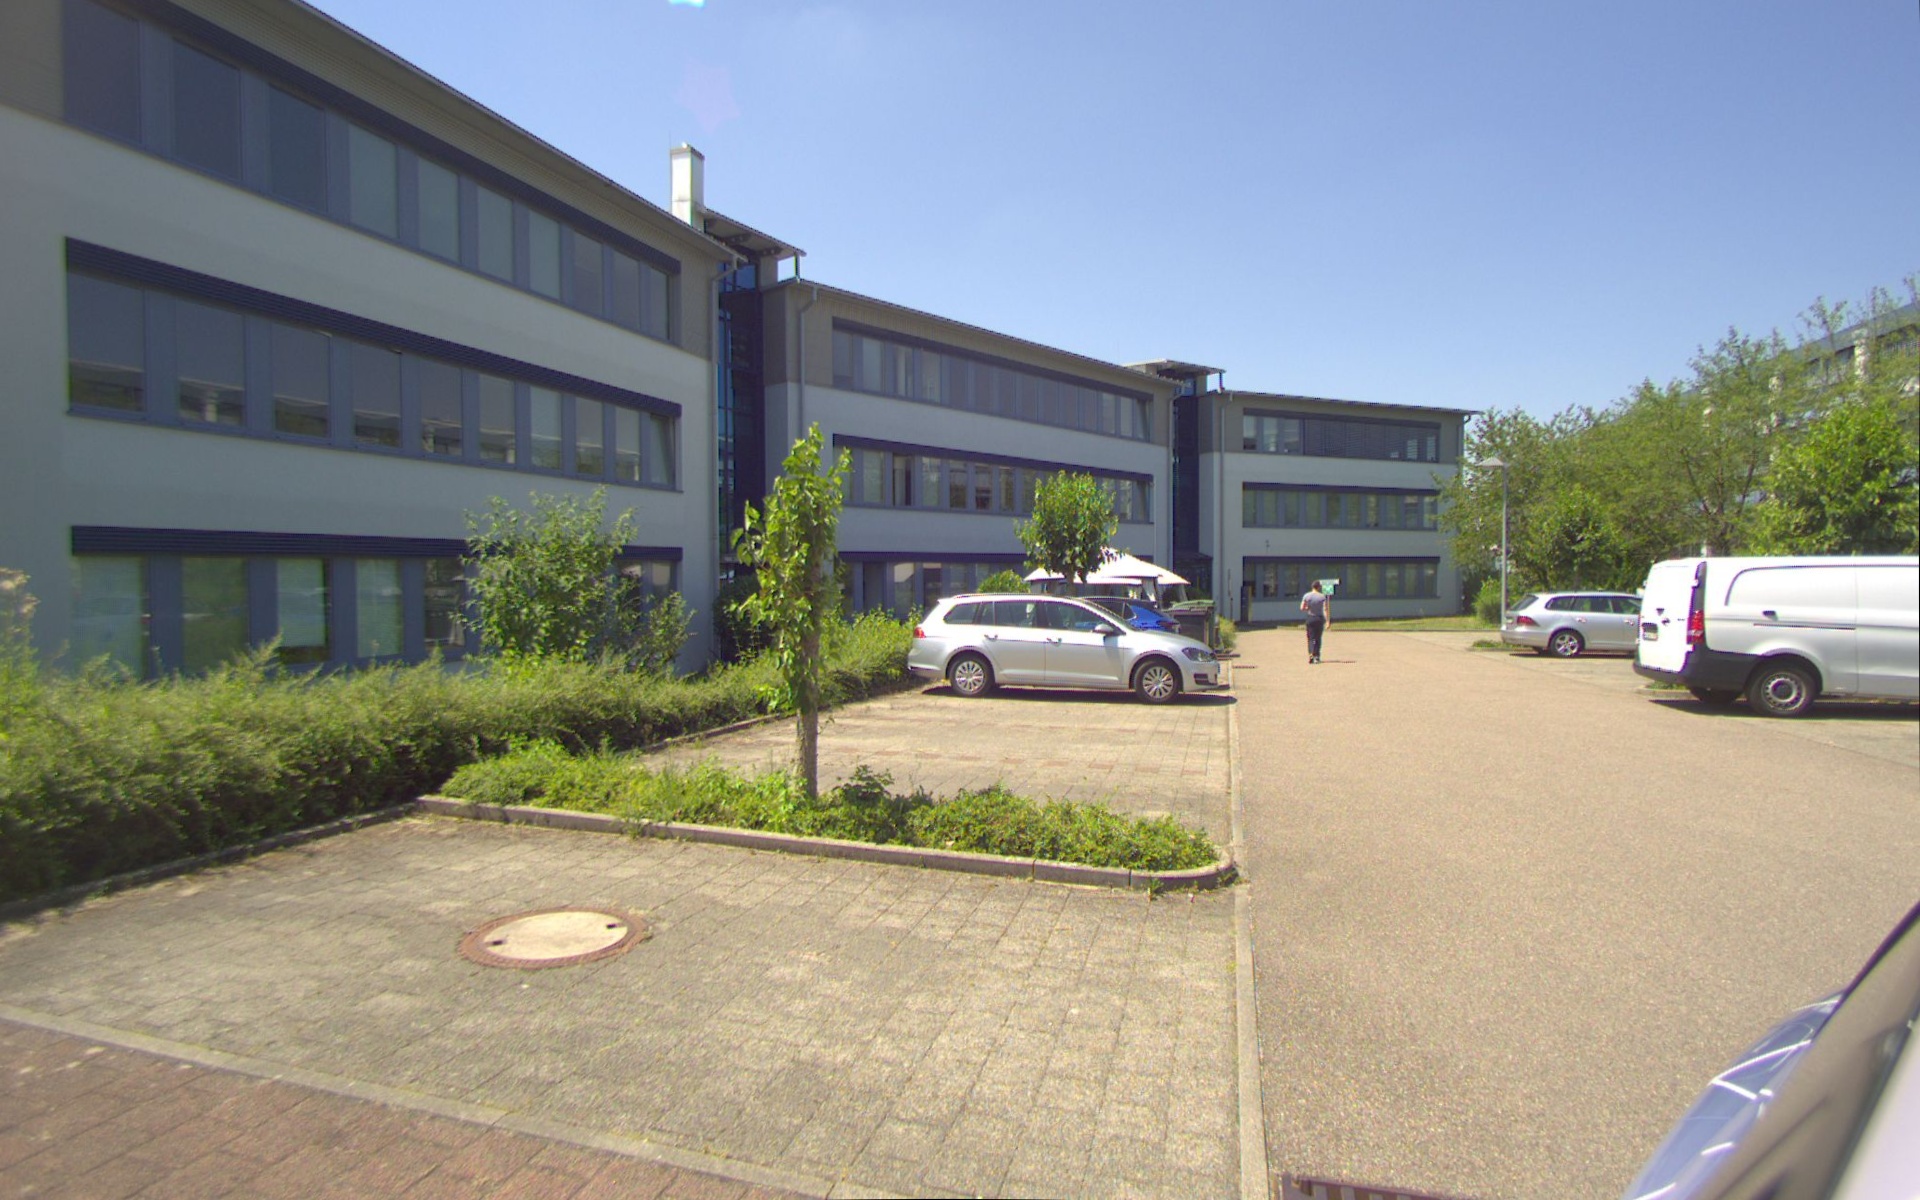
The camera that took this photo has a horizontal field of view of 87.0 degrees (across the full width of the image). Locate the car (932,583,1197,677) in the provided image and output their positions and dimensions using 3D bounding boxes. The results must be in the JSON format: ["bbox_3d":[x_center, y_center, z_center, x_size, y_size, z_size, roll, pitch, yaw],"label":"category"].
[{"bbox_3d":[1.936,0.478,18.352,4.546,1.513,1.848,1,0,15],"label":"car"}]

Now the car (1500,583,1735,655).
[{"bbox_3d":[14.477,0.371,22.542,4.031,1.502,1.729,0,0,18],"label":"car"}]

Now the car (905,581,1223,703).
[{"bbox_3d":[1.553,0.532,14.694,4.364,1.539,1.848,1,0,15],"label":"car"}]

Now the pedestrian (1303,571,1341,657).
[{"bbox_3d":[7.659,0.291,21.431,0.689,1.779,0.772,-1,0,18],"label":"pedestrian"}]

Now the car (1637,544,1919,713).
[{"bbox_3d":[11.193,0.311,12.028,4.868,1.879,1.847,0,0,18],"label":"car"}]
